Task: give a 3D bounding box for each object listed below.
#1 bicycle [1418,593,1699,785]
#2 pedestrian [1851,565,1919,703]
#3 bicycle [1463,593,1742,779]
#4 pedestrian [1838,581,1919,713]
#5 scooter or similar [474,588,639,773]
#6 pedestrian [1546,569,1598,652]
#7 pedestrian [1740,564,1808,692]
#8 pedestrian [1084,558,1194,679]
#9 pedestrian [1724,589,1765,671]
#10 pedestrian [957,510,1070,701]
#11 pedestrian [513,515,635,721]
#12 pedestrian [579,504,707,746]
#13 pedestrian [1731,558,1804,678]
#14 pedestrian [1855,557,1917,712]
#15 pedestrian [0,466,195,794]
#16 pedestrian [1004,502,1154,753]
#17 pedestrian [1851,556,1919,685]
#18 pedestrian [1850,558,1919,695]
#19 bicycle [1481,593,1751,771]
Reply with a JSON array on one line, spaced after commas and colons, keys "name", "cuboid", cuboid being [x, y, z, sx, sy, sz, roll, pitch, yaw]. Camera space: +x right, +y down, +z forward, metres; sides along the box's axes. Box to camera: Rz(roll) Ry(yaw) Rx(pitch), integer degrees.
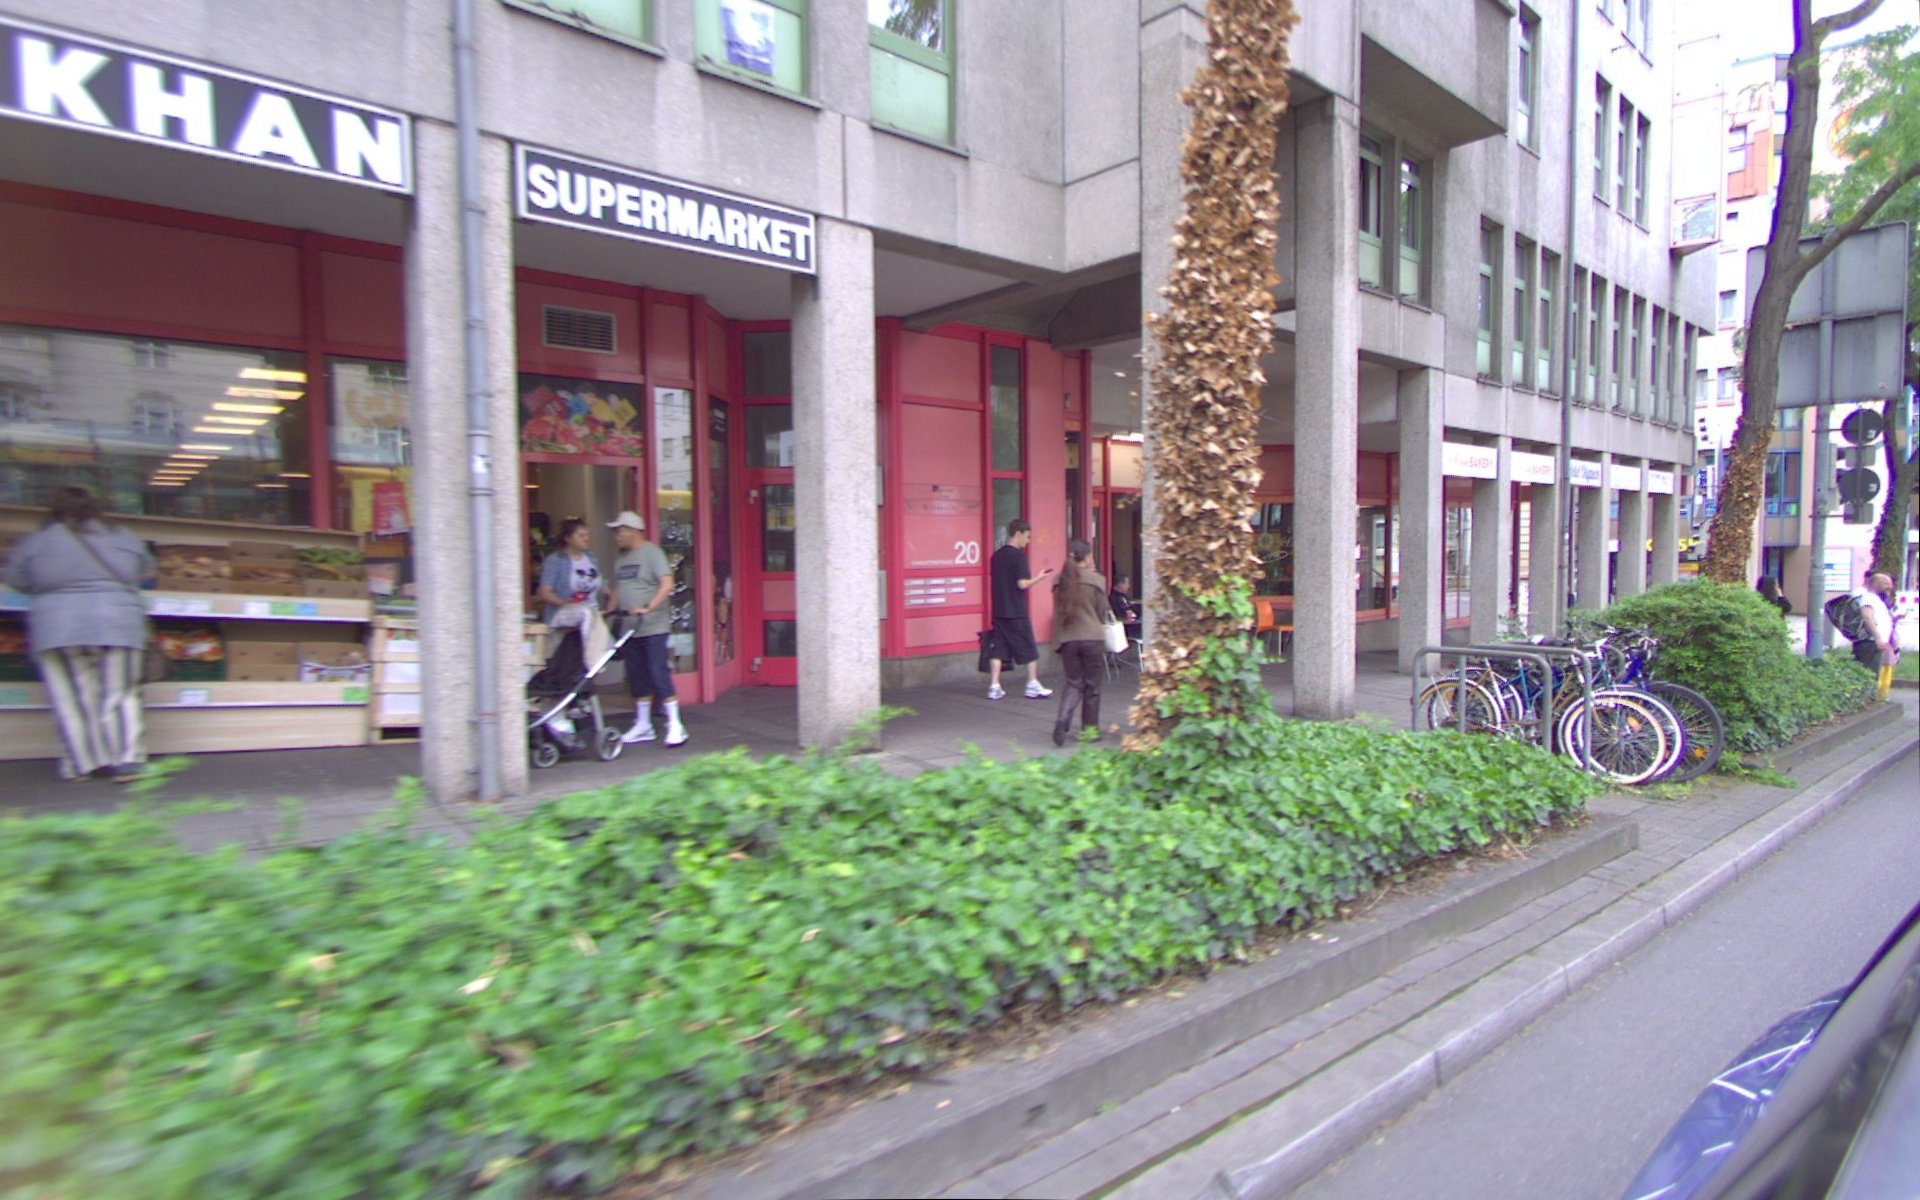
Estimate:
[{"name": "bicycle", "cuboid": [4.401, 0.592, 7.545, 1.708, 1.198, 0.442, 4, 4, 43]}, {"name": "pedestrian", "cuboid": [12.297, 0.427, 13.236, 0.752, 1.724, 0.836, -1, 3, -44]}, {"name": "bicycle", "cuboid": [4.859, 0.594, 7.751, 1.708, 1.198, 0.442, 4, 4, 43]}, {"name": "pedestrian", "cuboid": [11.589, 0.561, 12.675, 0.752, 1.582, 0.836, -2, 1, -44]}, {"name": "scooter or similar", "cuboid": [-2.689, 0.503, 6.833, 0.750, 1.123, 0.858, 1, 3, 2]}, {"name": "pedestrian", "cuboid": [13.148, 0.230, 21.779, 0.848, 1.735, 1.115, -1, -1, 28]}, {"name": "pedestrian", "cuboid": [10.807, 0.358, 13.449, 0.615, 1.632, 0.753, 4, 1, 39]}, {"name": "pedestrian", "cuboid": [2.195, 0.196, 12.467, 1.056, 1.380, 0.745, 4, 3, 43]}, {"name": "pedestrian", "cuboid": [13.247, 0.493, 17.086, 0.511, 1.350, 0.471, -2, 1, -44]}, {"name": "pedestrian", "cuboid": [0.531, 0.029, 10.232, 0.710, 1.825, 0.834, 0, 3, -40]}, {"name": "pedestrian", "cuboid": [-3.243, 0.140, 8.499, 0.750, 1.632, 0.618, 2, 1, -37]}, {"name": "pedestrian", "cuboid": [-2.368, 0.170, 7.637, 0.750, 1.744, 0.677, 0, 2, 1]}, {"name": "pedestrian", "cuboid": [12.874, 0.275, 16.139, 0.821, 1.825, 0.722, 2, 2, -45]}, {"name": "pedestrian", "cuboid": [11.175, 0.389, 12.209, 0.752, 1.811, 0.519, -2, 1, -45]}, {"name": "pedestrian", "cuboid": [-4.736, 0.141, 5.512, 0.616, 1.632, 0.768, 4, 1, 42]}, {"name": "pedestrian", "cuboid": [0.924, 0.173, 7.838, 0.762, 1.804, 0.834, 4, 4, 45]}, {"name": "pedestrian", "cuboid": [14.083, 0.287, 15.390, 0.721, 1.897, 0.734, -2, 2, -44]}, {"name": "pedestrian", "cuboid": [12.988, 0.342, 14.095, 0.678, 1.798, 0.694, -1, 6, -44]}, {"name": "bicycle", "cuboid": [5.171, 0.588, 8.070, 1.708, 1.198, 0.442, 4, 4, 43]}]
